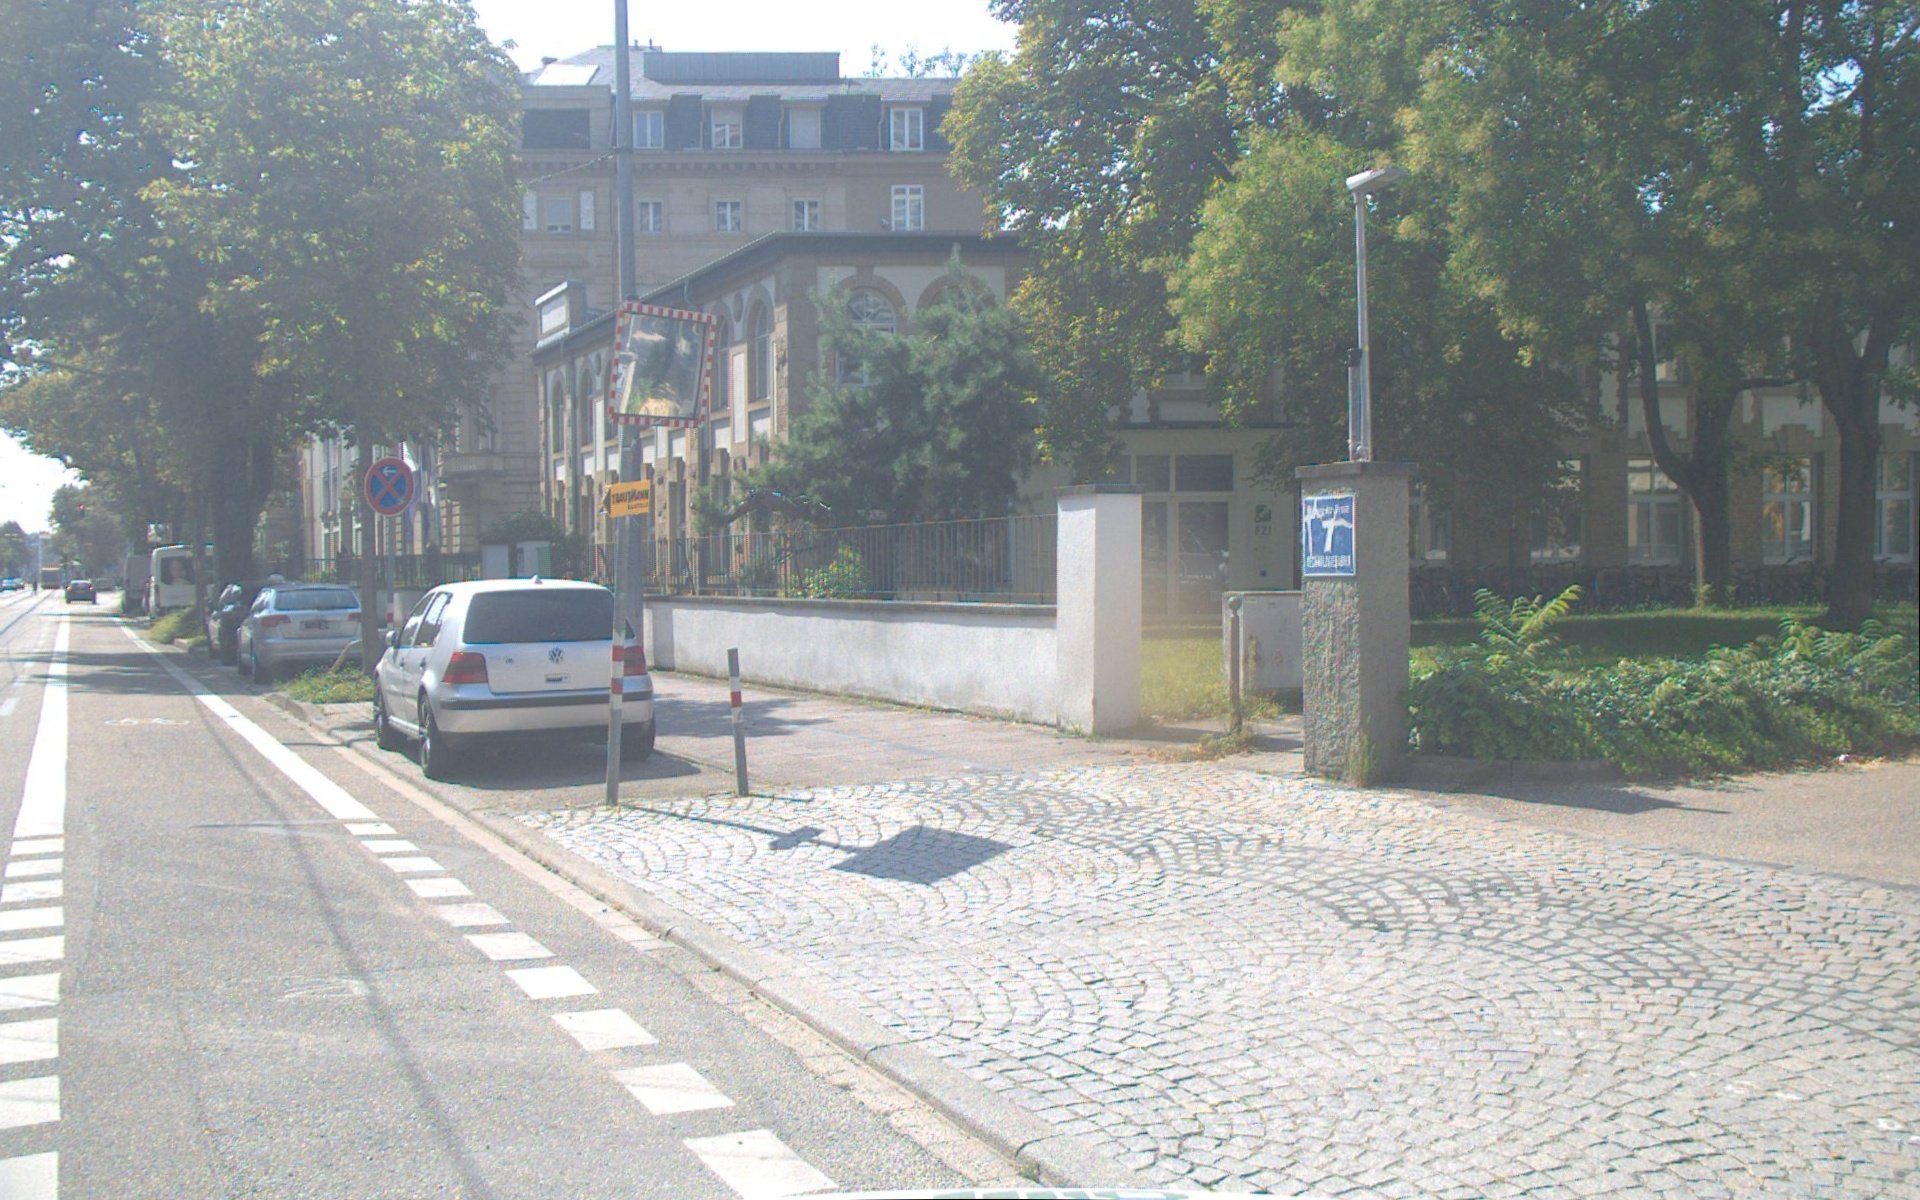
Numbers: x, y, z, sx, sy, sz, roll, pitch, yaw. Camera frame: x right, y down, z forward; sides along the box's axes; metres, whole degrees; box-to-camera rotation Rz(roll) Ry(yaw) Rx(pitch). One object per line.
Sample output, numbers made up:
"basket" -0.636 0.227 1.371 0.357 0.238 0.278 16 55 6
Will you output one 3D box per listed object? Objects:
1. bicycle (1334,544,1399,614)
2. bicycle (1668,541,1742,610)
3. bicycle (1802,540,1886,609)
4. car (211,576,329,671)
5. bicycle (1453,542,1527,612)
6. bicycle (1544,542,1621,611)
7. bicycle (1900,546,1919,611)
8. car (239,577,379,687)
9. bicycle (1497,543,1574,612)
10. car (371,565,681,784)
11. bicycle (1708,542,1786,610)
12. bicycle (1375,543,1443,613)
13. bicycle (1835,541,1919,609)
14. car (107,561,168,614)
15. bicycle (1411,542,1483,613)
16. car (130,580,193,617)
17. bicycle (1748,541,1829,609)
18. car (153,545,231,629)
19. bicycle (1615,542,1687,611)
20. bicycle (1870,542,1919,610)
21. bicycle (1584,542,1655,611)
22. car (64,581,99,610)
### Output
"bicycle" 8.009 -0.410 32.652 0.753 1.325 2.527 0 0 2
"bicycle" 14.957 -0.481 33.257 0.594 1.325 2.174 0 0 2
"bicycle" 17.633 -0.499 33.045 0.594 1.325 2.174 0 0 2
"car" -12.723 0.368 30.375 1.772 1.604 3.966 -1 1 -26
"bicycle" 10.470 -0.441 32.751 0.753 1.325 2.527 0 0 2
"bicycle" 12.417 -0.457 33.055 0.753 1.325 2.274 0 0 2
"bicycle" 19.717 -0.440 33.164 0.594 1.325 2.174 0 0 2
"car" -10.017 0.445 25.336 1.622 1.538 3.608 0 0 -28
"bicycle" 11.475 -0.443 33.044 0.753 1.325 2.527 0 0 2
"car" -3.672 0.501 13.533 1.769 1.471 3.702 -2 1 -25
"bicycle" 15.704 -0.470 33.066 0.594 1.325 2.174 0 0 2
"bicycle" 8.795 -0.419 32.499 0.753 1.325 2.527 0 0 2
"bicycle" 18.381 -0.488 33.183 0.594 1.325 2.174 0 0 2
"car" -36.269 -0.569 72.871 1.975 2.272 3.955 -1 1 -33
"bicycle" 9.584 -0.434 32.642 0.753 1.325 2.527 0 0 2
"car" -32.371 -0.067 67.025 1.973 1.422 3.959 -1 1 -31
"bicycle" 16.554 -0.491 33.097 0.594 1.325 2.174 0 0 2
"car" -23.029 -0.376 49.531 1.971 2.407 3.964 0 0 -28
"bicycle" 13.825 -0.461 33.145 0.594 1.325 2.174 0 0 2
"bicycle" 19.046 -0.465 33.068 0.594 1.325 2.174 0 0 2
"bicycle" 13.179 -0.463 33.118 0.612 1.325 2.274 0 0 2
"car" -56.561 -0.274 106.569 1.971 1.832 3.964 0 0 -28
